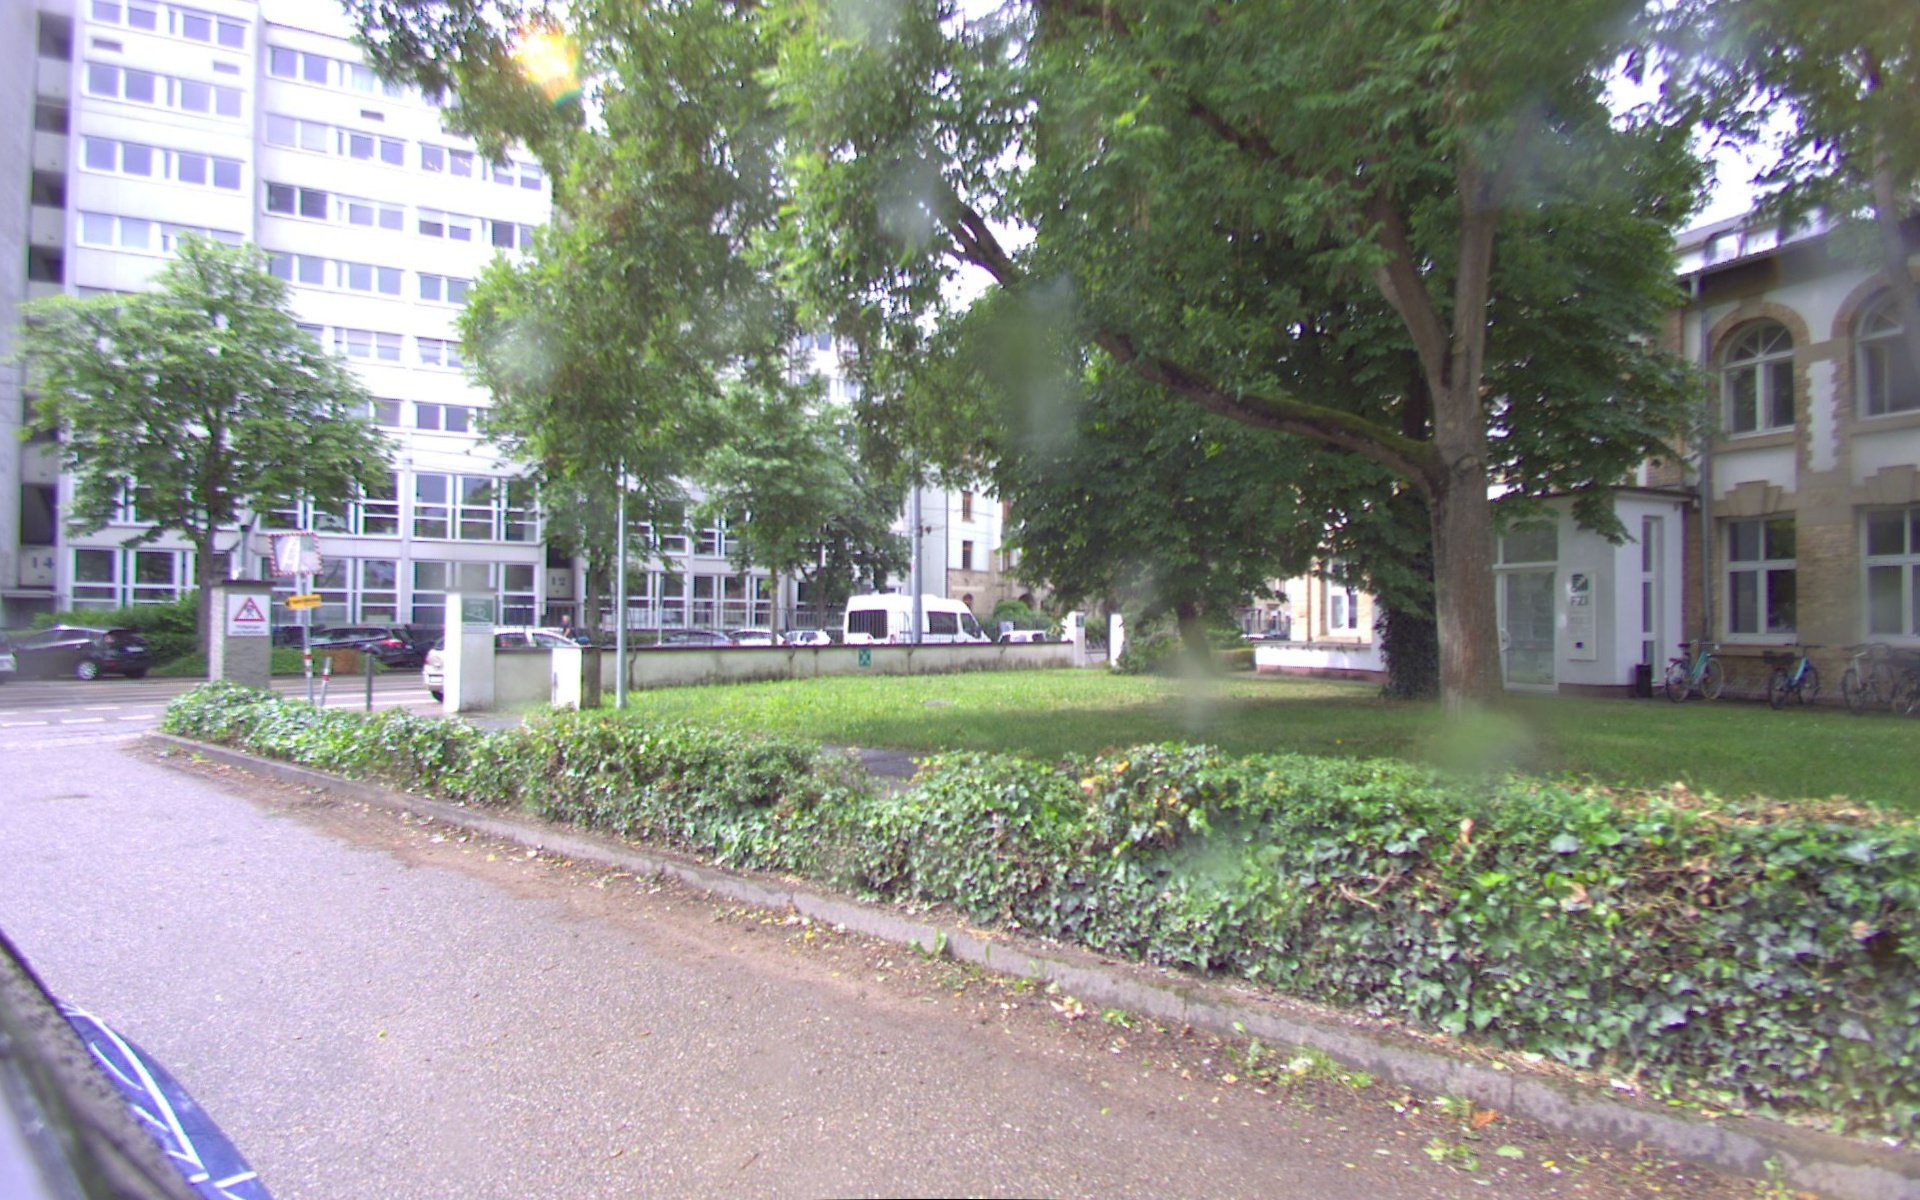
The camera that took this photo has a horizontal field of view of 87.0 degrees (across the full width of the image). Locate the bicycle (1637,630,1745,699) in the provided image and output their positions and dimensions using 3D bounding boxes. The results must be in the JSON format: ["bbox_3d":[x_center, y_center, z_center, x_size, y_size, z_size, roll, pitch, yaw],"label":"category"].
[{"bbox_3d":[12.520,1.097,17.329,1.893,1.124,0.619,2,-3,-25],"label":"bicycle"}]

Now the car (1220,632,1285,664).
[{"bbox_3d":[15.392,2.508,53.147,1.794,1.509,3.976,-3,-3,40],"label":"car"}]

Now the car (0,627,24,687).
[{"bbox_3d":[-25.212,1.381,24.533,3.356,1.463,1.712,0,-2,-4],"label":"car"}]

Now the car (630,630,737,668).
[{"bbox_3d":[-11.691,2.077,43.006,4.141,1.464,1.816,-1,-2,-6],"label":"car"}]

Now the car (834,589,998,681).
[{"bbox_3d":[-1.221,1.087,30.652,2.136,2.529,5.207,-4,-4,37],"label":"car"}]

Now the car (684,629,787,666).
[{"bbox_3d":[-10.040,2.128,45.554,4.326,1.464,1.888,-1,-2,-6],"label":"car"}]

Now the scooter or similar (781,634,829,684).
[{"bbox_3d":[-4.087,1.559,26.698,1.136,1.287,0.424,0,-4,13],"label":"scooter or similar"}]

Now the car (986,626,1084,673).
[{"bbox_3d":[2.673,1.750,35.795,1.912,1.563,3.326,-3,-4,39],"label":"car"}]

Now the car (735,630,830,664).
[{"bbox_3d":[-8.397,2.230,48.125,4.304,1.464,1.908,-1,-2,-6],"label":"car"}]

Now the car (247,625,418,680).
[{"bbox_3d":[-20.050,1.686,32.522,4.301,1.567,1.881,-1,-3,-8],"label":"car"}]

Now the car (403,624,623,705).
[{"bbox_3d":[-9.013,1.276,20.639,1.687,1.471,3.785,-3,-4,37],"label":"car"}]

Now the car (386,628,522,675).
[{"bbox_3d":[-17.416,1.773,34.958,3.820,1.465,1.825,-1,-2,-8],"label":"car"}]

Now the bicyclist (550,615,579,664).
[{"bbox_3d":[-13.413,1.333,34.315,0.645,1.630,0.664,-4,-3,43],"label":"bicyclist"}]

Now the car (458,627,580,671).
[{"bbox_3d":[-16.411,1.819,37.815,3.820,1.465,1.781,-1,-2,-8],"label":"car"}]

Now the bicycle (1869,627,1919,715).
[{"bbox_3d":[13.997,0.989,14.567,1.893,1.186,0.619,0,-2,-25],"label":"bicycle"}]

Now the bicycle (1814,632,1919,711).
[{"bbox_3d":[13.758,1.065,15.229,1.893,1.124,0.619,2,-3,-25],"label":"bicycle"}]

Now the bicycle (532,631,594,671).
[{"bbox_3d":[-13.440,1.706,34.263,0.645,1.276,1.842,-4,-3,43],"label":"bicycle"}]

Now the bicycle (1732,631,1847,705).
[{"bbox_3d":[13.146,1.073,16.024,1.893,1.124,0.619,2,-3,-25],"label":"bicycle"}]

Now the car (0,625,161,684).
[{"bbox_3d":[-24.055,1.444,27.074,3.922,1.492,1.816,-1,-2,0],"label":"car"}]
